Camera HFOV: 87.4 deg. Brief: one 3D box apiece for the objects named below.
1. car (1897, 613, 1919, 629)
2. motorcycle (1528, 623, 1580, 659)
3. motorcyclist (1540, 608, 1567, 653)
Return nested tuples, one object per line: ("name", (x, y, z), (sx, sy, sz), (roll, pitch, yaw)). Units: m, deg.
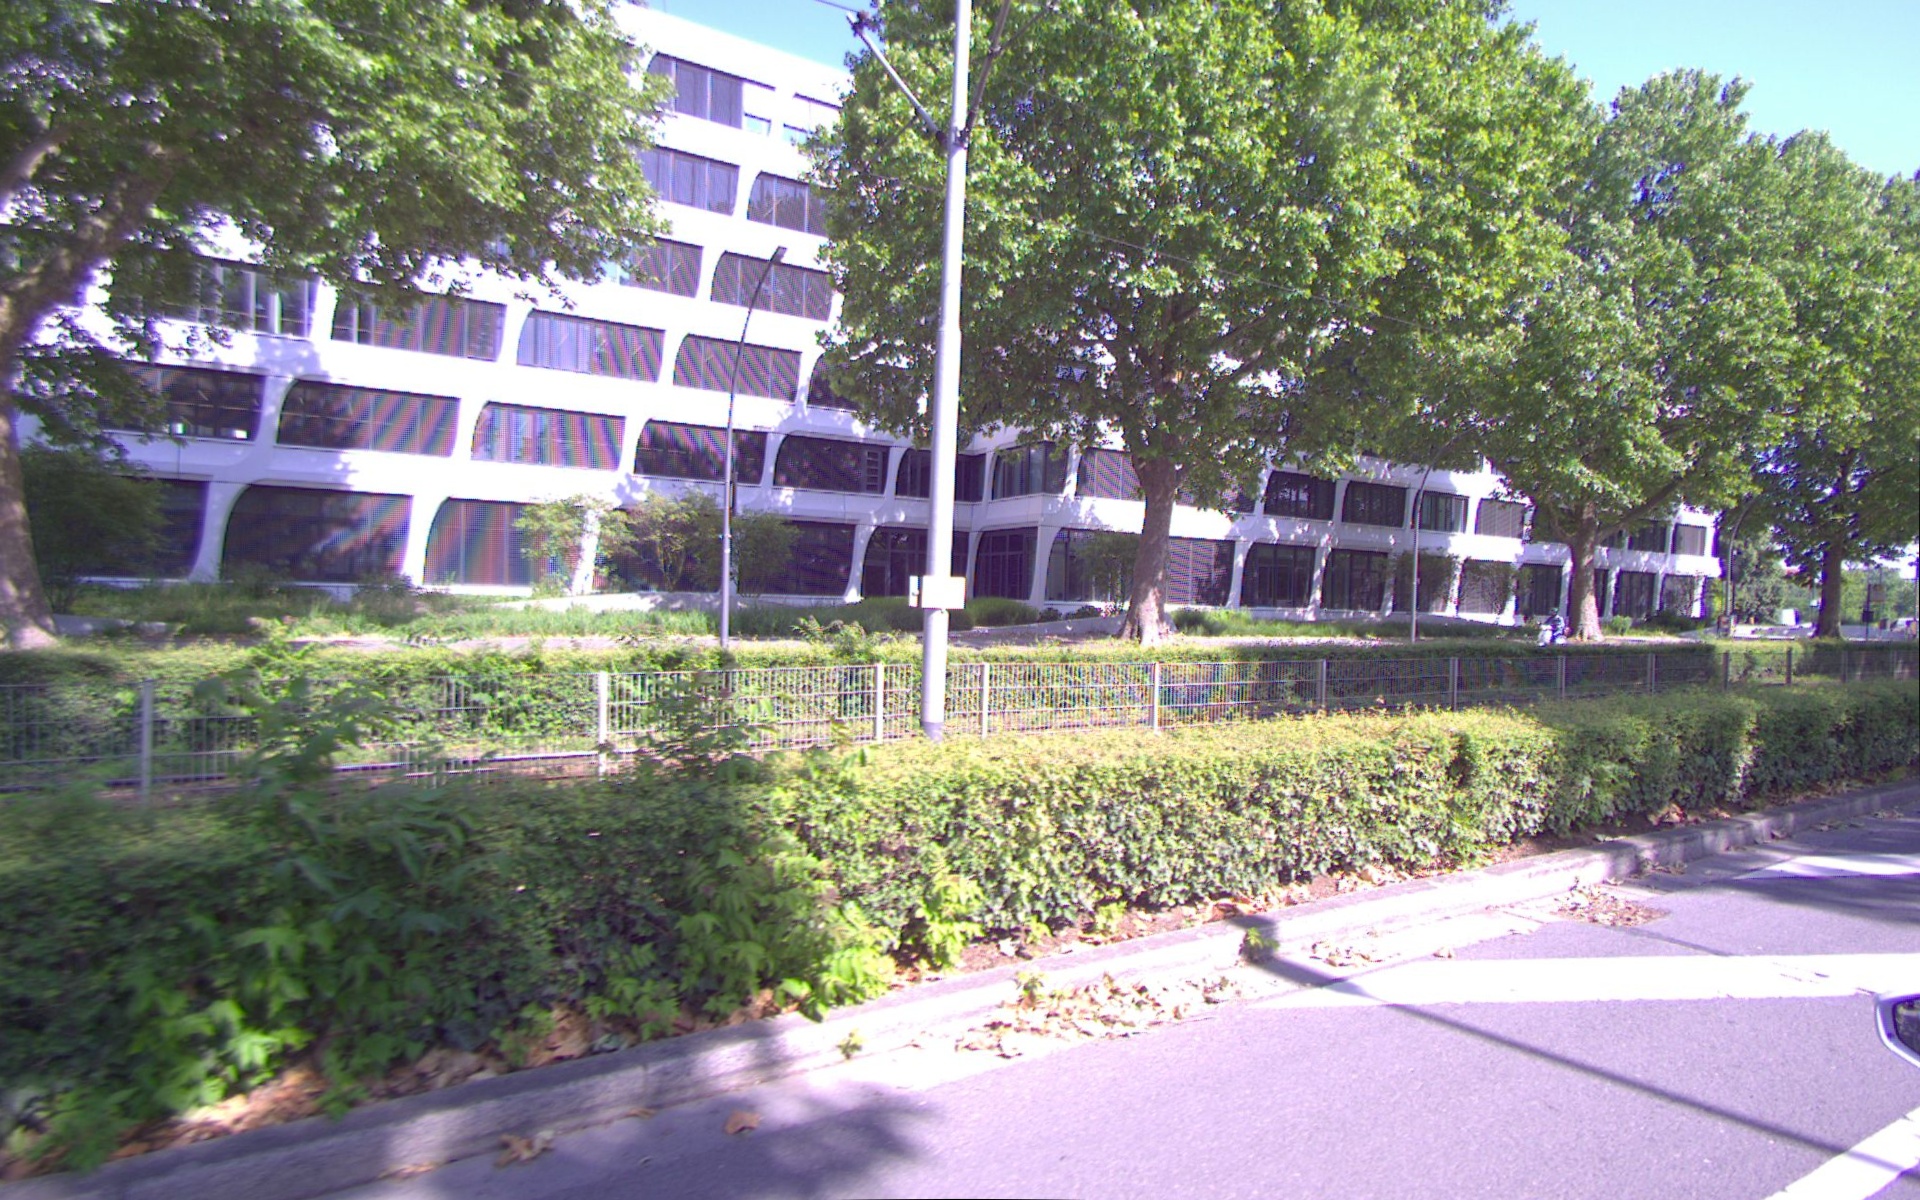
("car", (100.582, 2.245, 104.729), (1.748, 1.569, 3.829), (1, 1, -30))
("motorcycle", (20.078, 1.379, 33.918), (1.977, 1.190, 0.629), (1, 1, -31))
("motorcyclist", (20.005, 1.027, 33.878), (0.527, 1.477, 0.578), (1, 1, -30))
